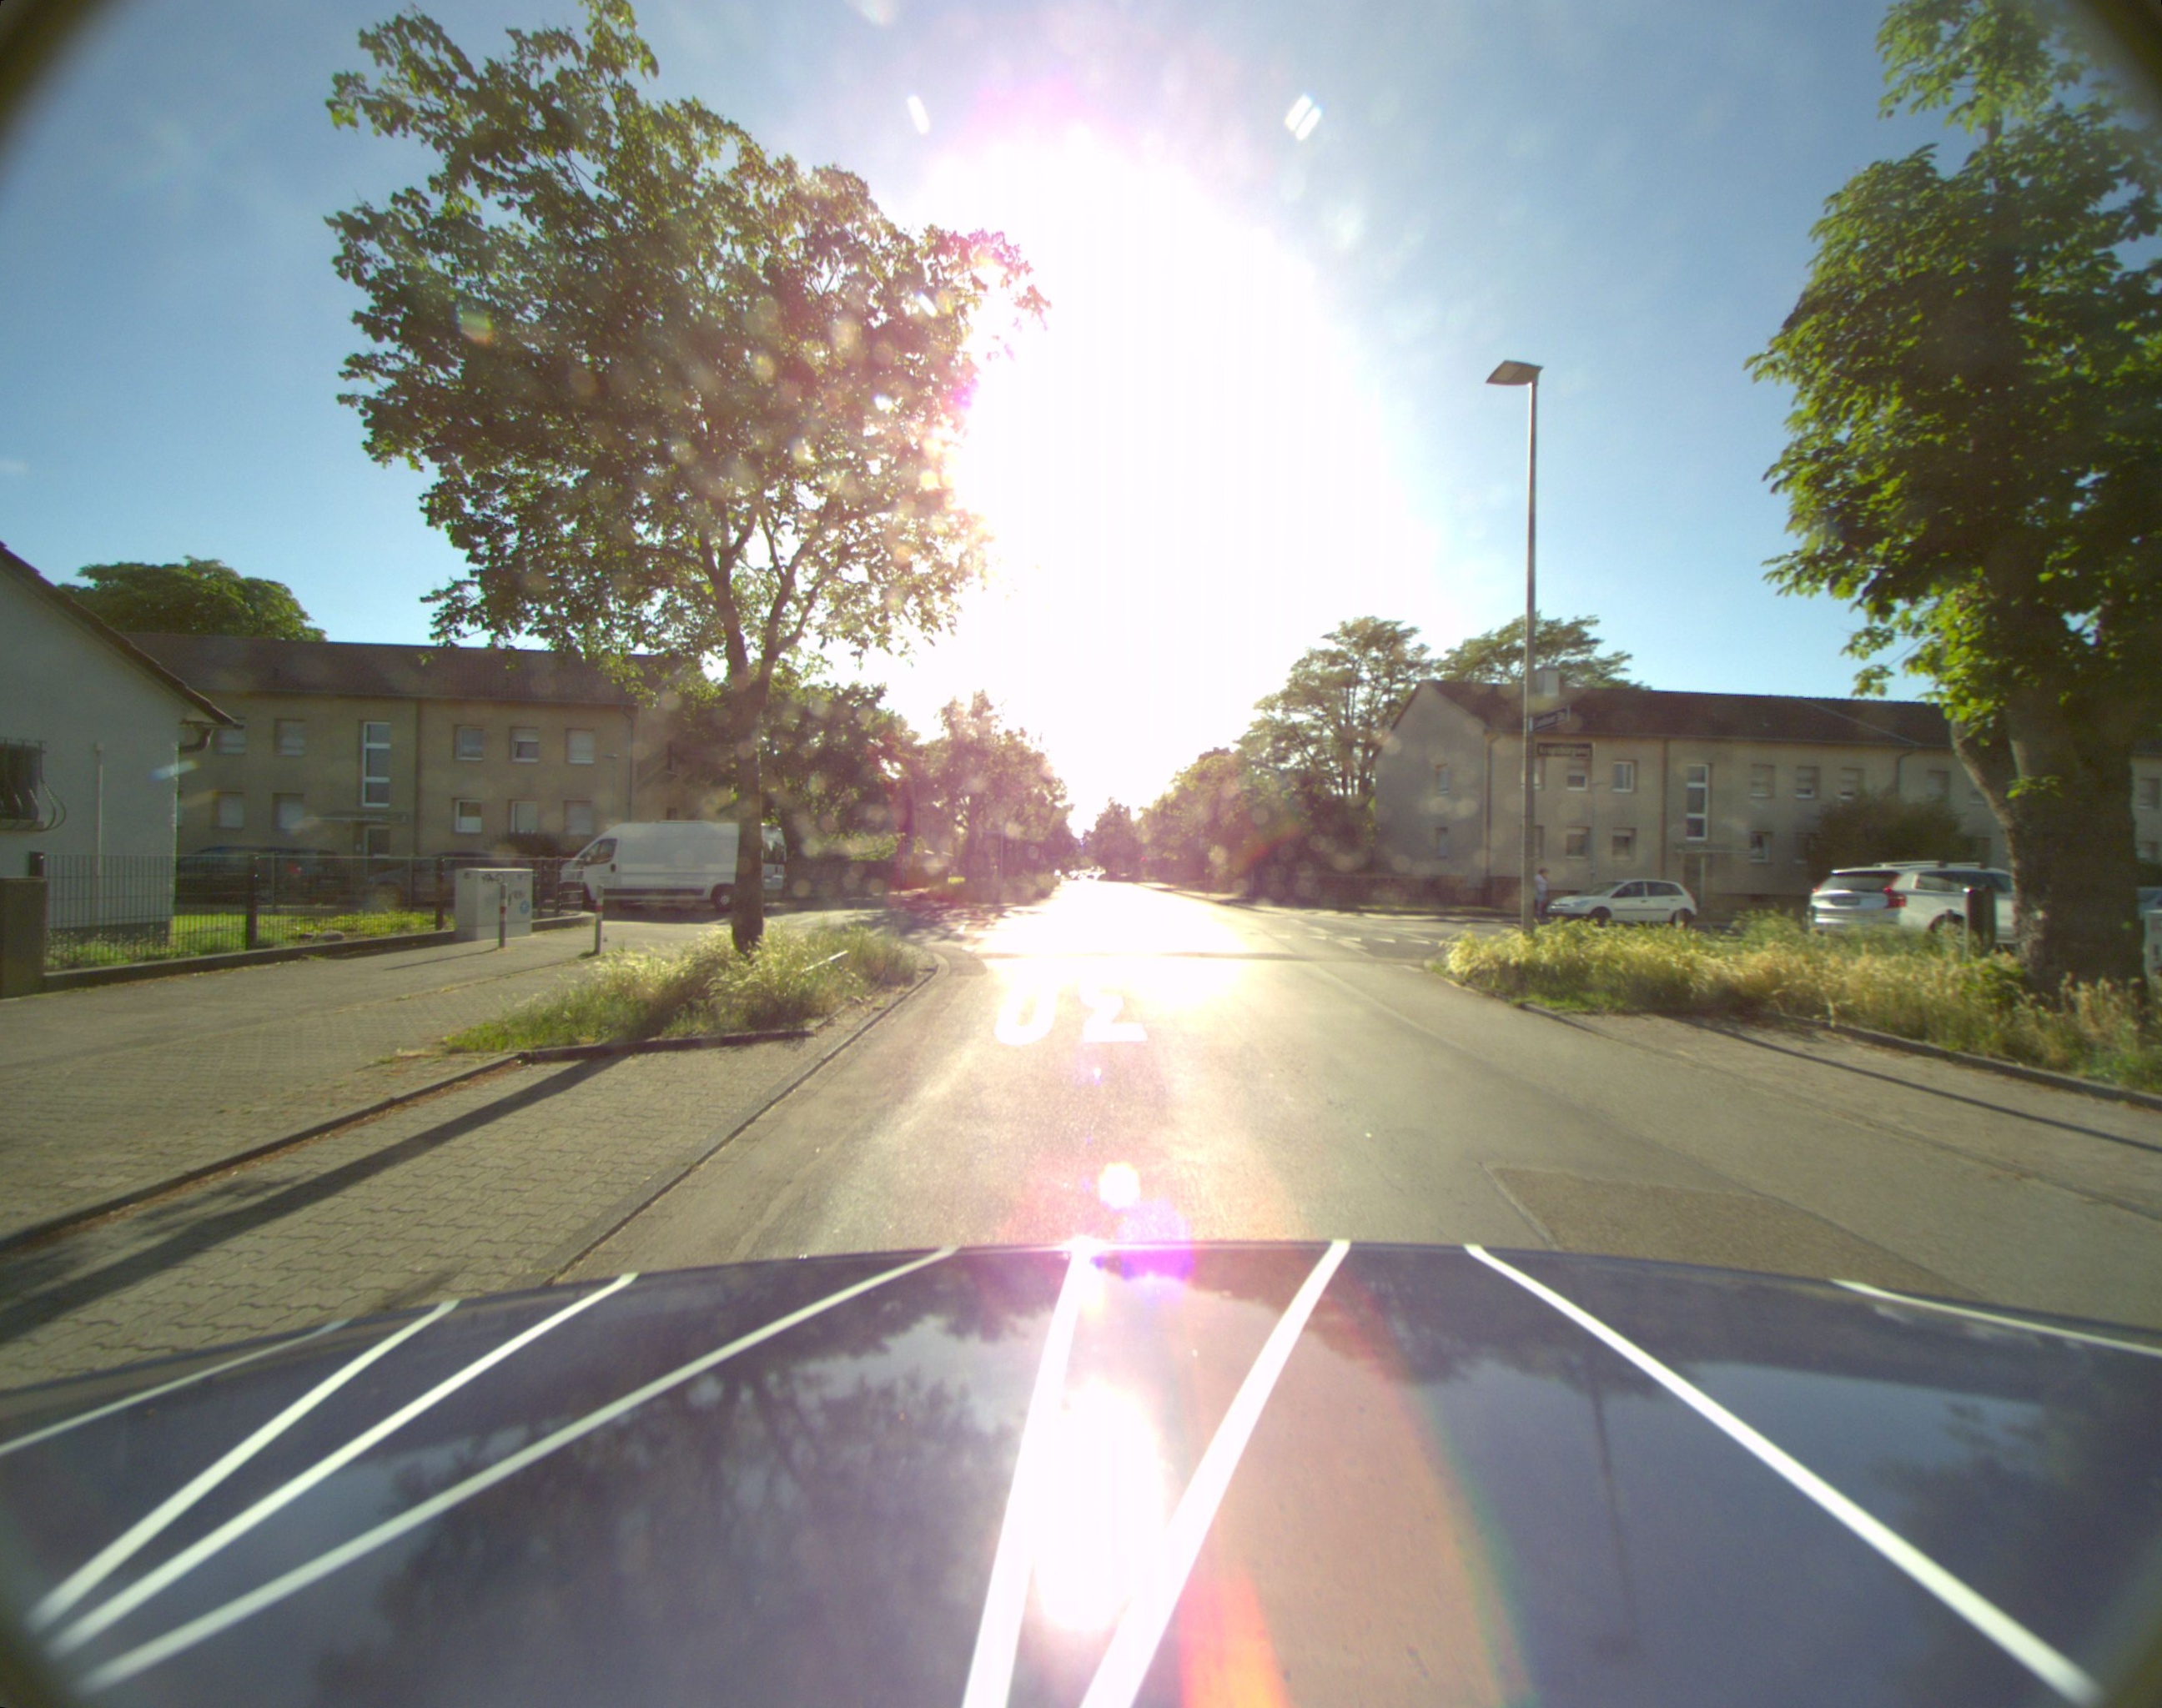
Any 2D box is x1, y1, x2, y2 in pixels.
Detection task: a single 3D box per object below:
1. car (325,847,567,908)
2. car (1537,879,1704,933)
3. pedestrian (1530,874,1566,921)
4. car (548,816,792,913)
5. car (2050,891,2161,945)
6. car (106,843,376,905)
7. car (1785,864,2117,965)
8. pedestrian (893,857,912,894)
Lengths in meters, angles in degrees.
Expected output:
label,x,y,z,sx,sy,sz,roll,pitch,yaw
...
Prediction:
label,x,y,z,sx,sy,sz,roll,pitch,yaw
car,-17.553,0.645,21.261,4.754,1.572,2.285,-1,-1,-3
car,16.196,1.548,22.949,3.777,1.470,1.871,1,-2,-2
pedestrian,15.698,1.445,25.573,0.786,1.544,0.639,-1,-1,-4
car,-11.464,0.316,21.583,5.610,2.524,2.265,1,-1,-3
car,33.351,1.990,23.727,3.776,1.604,1.871,1,-2,0
car,-23.131,0.497,21.139,4.754,1.572,2.284,-1,1,-3
car,17.239,1.195,15.233,4.501,1.826,2.001,1,-3,-3
pedestrian,-8.300,0.991,35.294,0.638,1.695,0.612,3,-1,-1
